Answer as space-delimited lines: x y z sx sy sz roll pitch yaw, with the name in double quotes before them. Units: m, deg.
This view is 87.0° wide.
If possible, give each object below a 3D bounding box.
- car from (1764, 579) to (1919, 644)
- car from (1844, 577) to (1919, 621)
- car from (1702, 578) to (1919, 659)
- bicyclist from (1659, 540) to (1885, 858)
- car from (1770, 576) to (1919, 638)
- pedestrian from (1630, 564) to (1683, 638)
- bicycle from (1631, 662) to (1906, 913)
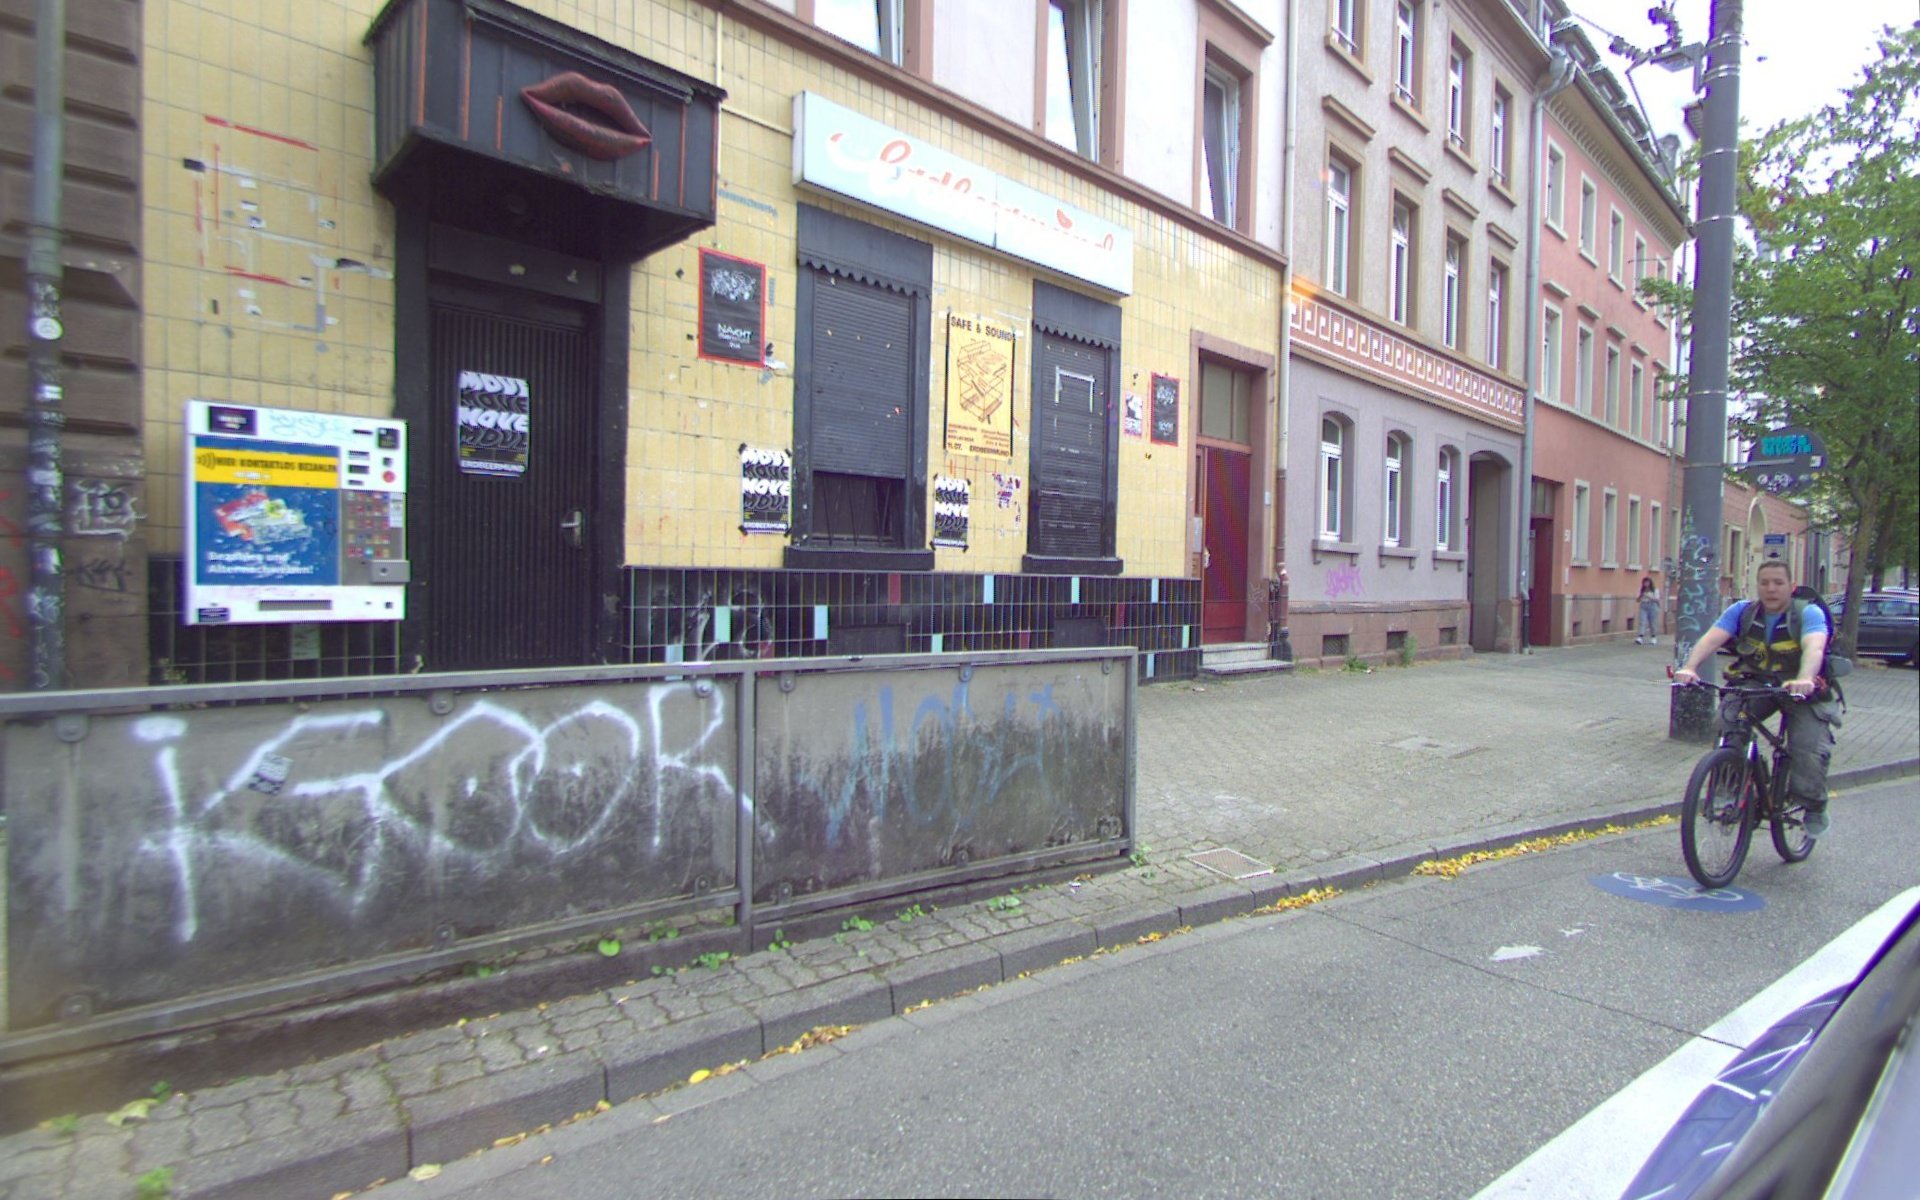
"car" 23.799 0.294 26.164 4.299 1.498 1.775 3 2 24
"car" 39.804 -0.001 41.730 4.580 1.719 1.901 3 2 24
"car" 18.741 0.374 21.387 4.580 1.491 1.775 3 2 24
"bicyclist" 4.340 0.474 5.414 0.901 1.526 0.716 0 -1 -36
"car" 28.290 0.209 31.683 4.195 1.719 1.726 3 2 24
"pedestrian" 16.850 0.013 24.484 0.911 1.708 0.732 0 5 -43
"bicycle" 4.371 0.906 5.432 1.766 1.031 0.715 0 0 -36
